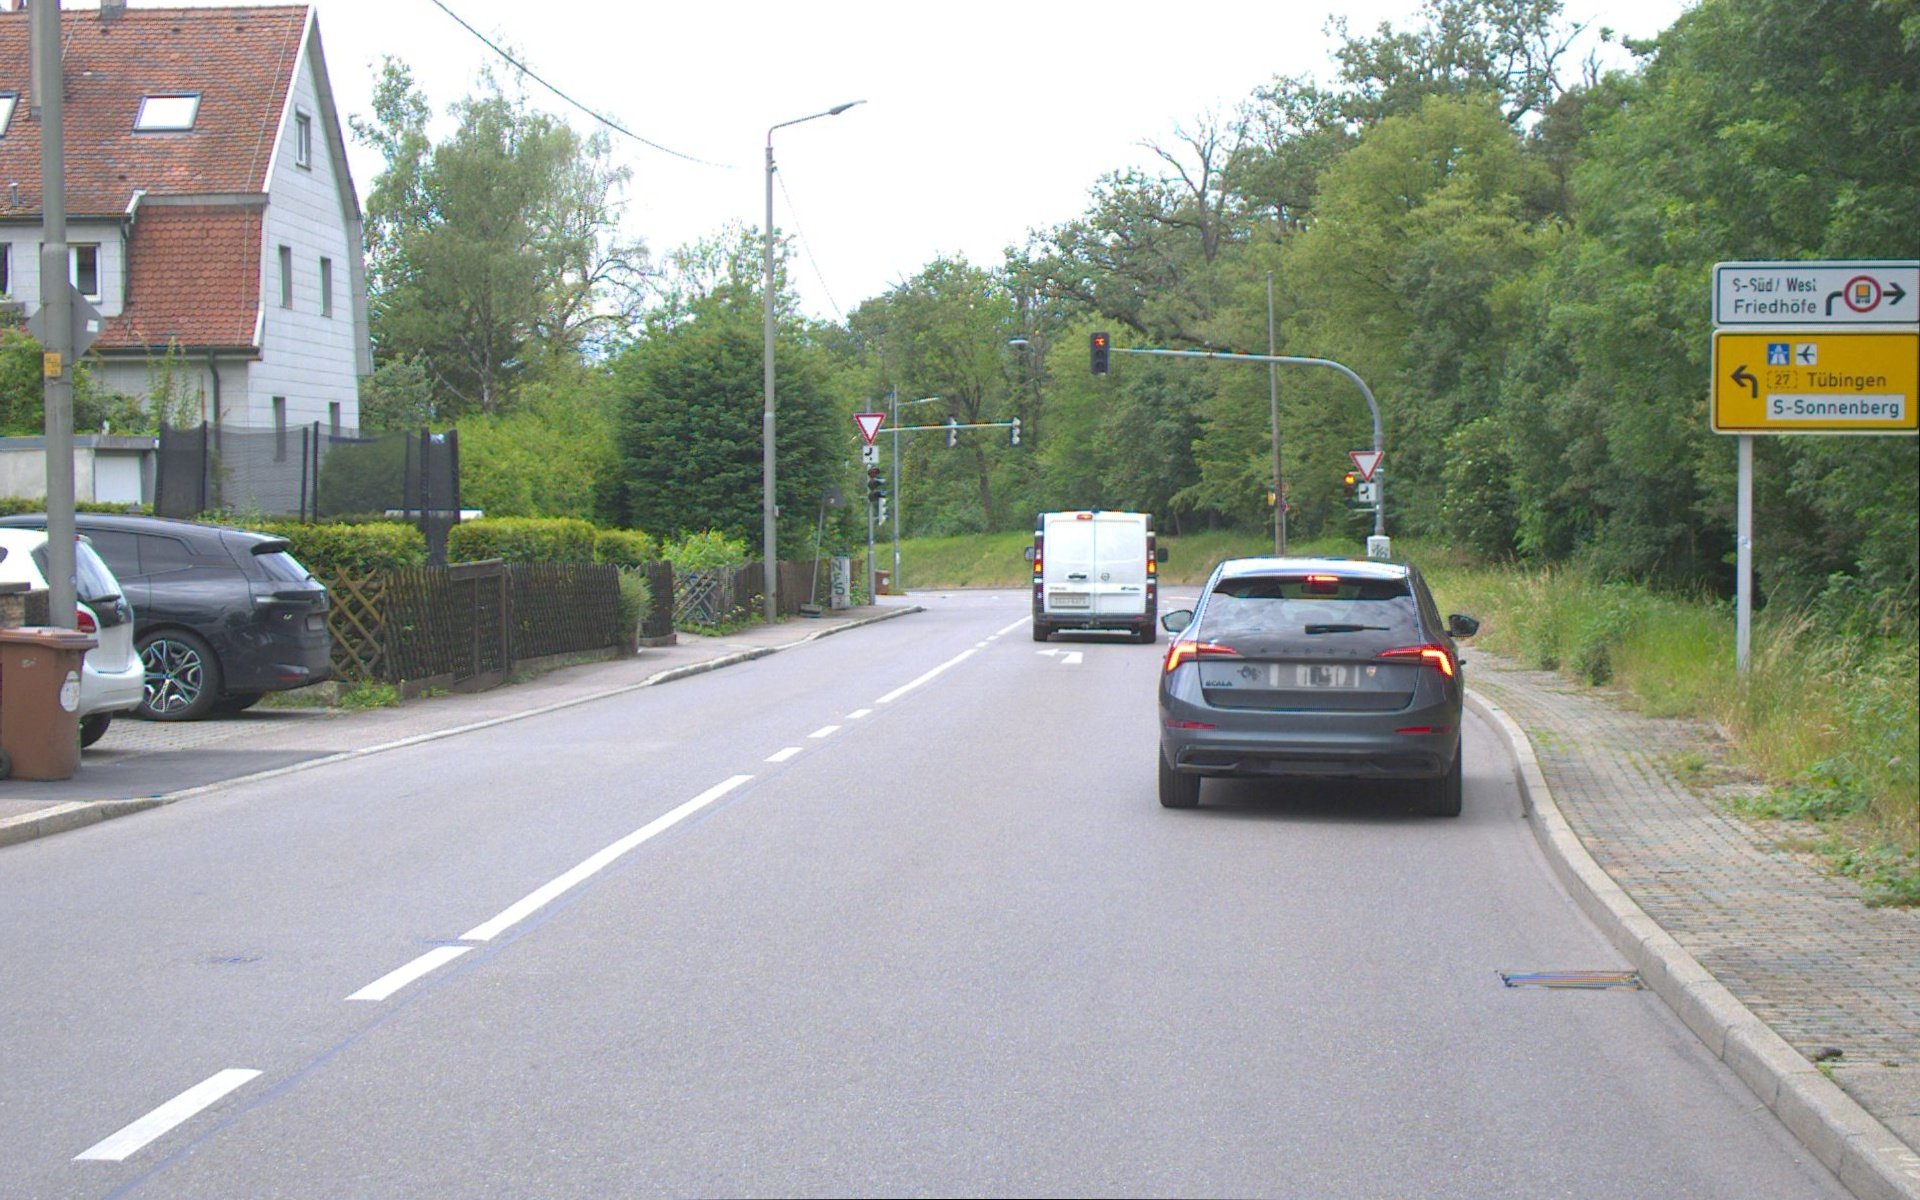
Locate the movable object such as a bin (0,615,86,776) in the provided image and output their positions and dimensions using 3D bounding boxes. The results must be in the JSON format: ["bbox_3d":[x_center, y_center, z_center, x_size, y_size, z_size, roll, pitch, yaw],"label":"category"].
[{"bbox_3d":[-5.665,0.575,20.818,0.599,0.947,0.579,0,1,-1],"label":"movable object such as a bin"}]

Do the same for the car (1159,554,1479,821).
[{"bbox_3d":[2.102,0.447,20.918,1.728,1.434,4.323,0,1,4],"label":"car"}]

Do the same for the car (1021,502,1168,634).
[{"bbox_3d":[2.009,-0.504,52.840,2.071,1.915,4.922,0,1,0],"label":"car"}]

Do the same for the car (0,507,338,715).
[{"bbox_3d":[-7.412,0.075,29.282,3.986,1.700,1.917,0,1,-5],"label":"car"}]

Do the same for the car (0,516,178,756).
[{"bbox_3d":[-7.694,0.236,24.089,3.986,1.612,2.000,0,1,-1],"label":"car"}]
